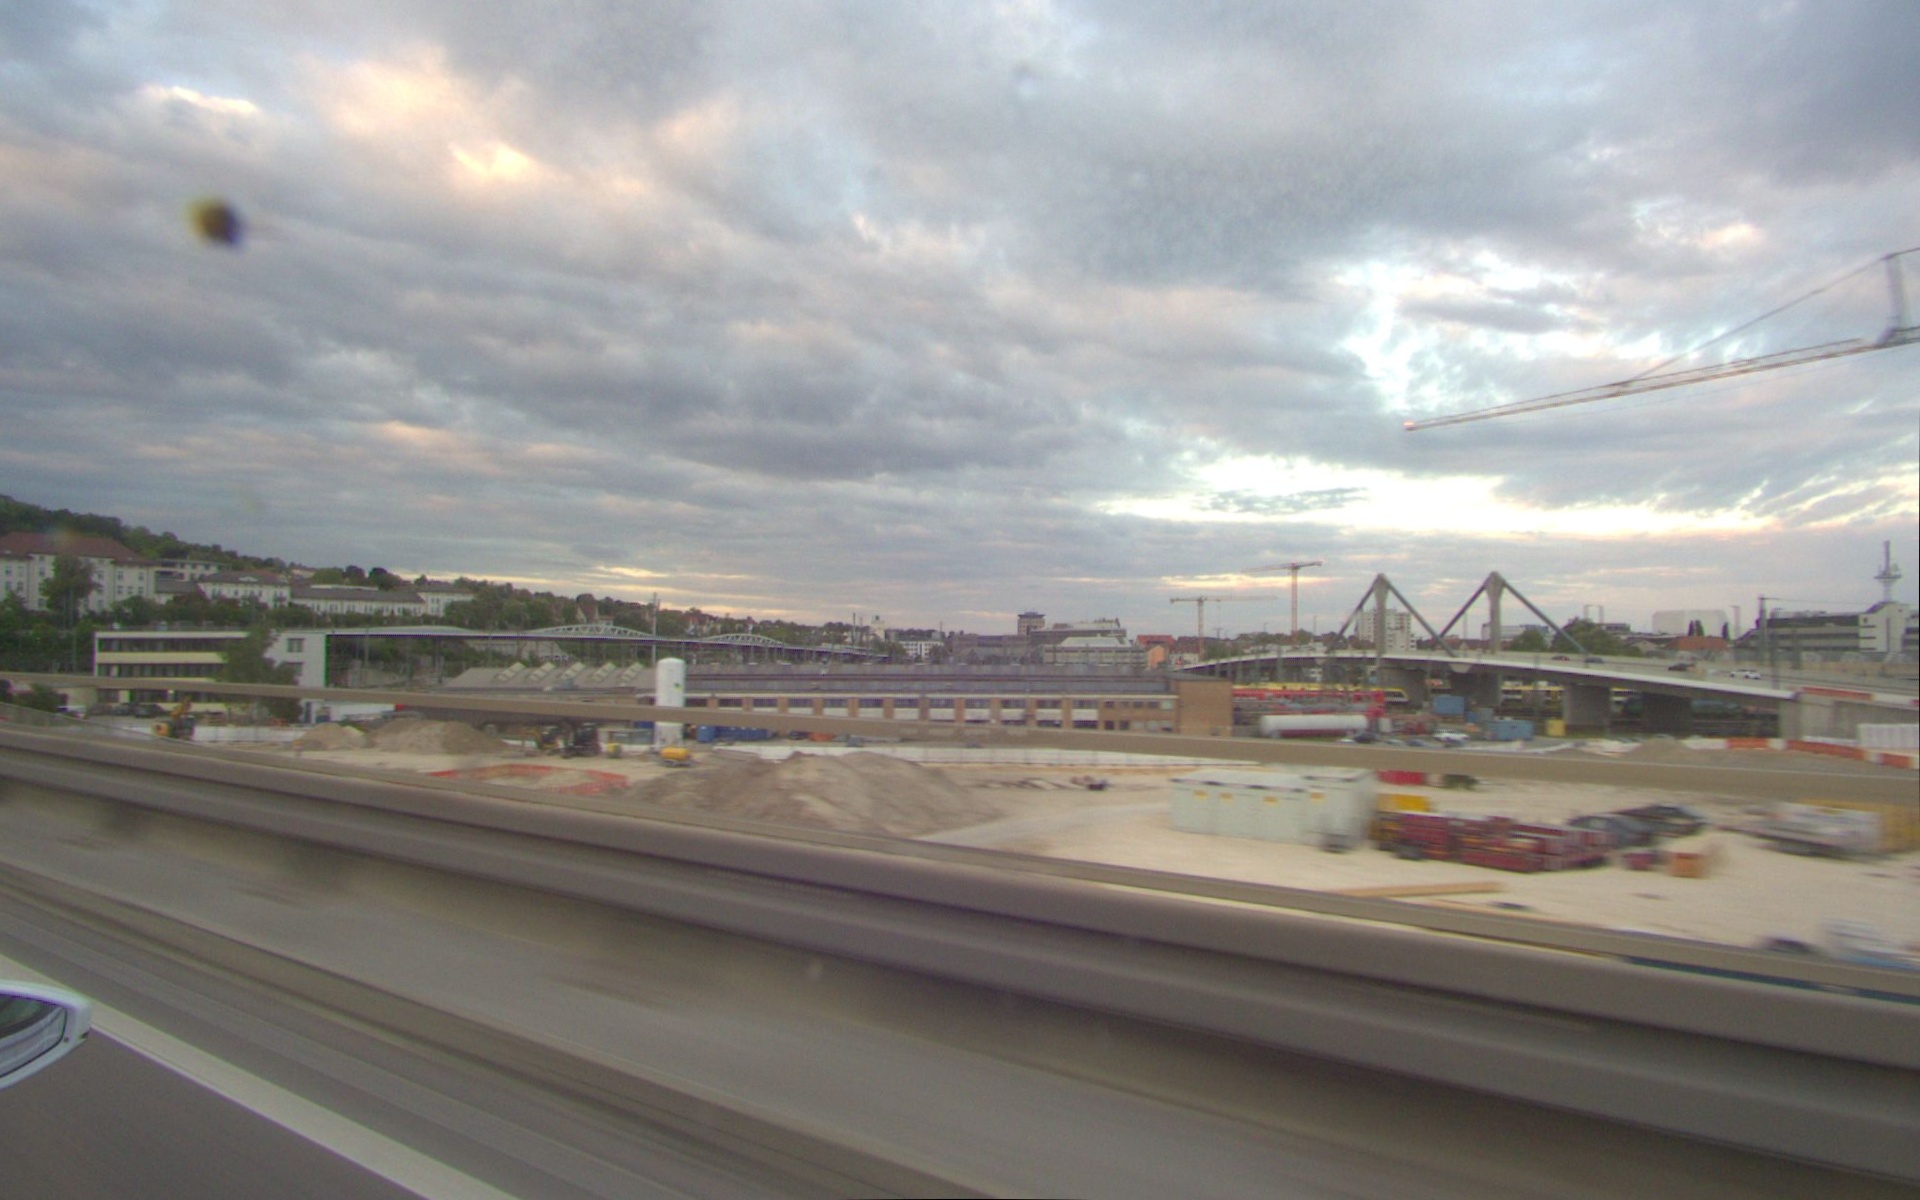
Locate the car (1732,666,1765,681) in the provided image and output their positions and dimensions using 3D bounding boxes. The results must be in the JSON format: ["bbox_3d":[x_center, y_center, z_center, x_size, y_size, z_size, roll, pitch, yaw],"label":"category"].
[{"bbox_3d":[115.279,10.808,146.472,1.565,1.761,3.703,5,0,-5],"label":"car"}]

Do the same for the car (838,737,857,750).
[{"bbox_3d":[-13.461,17.176,120.115,1.835,1.435,4.009,4,-7,-1],"label":"car"}]

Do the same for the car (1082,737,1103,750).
[{"bbox_3d":[15.736,17.075,119.184,1.835,1.435,4.009,4,-7,-1],"label":"car"}]

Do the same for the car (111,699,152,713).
[{"bbox_3d":[-102.104,13.047,123.436,1.797,1.583,4.006,5,-5,-3],"label":"car"}]

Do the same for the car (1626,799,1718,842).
[{"bbox_3d":[40.425,12.515,56.939,1.664,1.942,3.983,8,-8,-29],"label":"car"}]

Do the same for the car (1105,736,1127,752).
[{"bbox_3d":[18.563,17.131,119.265,1.835,1.733,4.009,4,-7,-1],"label":"car"}]

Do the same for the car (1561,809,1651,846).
[{"bbox_3d":[34.278,12.052,53.230,1.509,1.457,3.780,8,-8,-30],"label":"car"}]

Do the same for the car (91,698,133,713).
[{"bbox_3d":[-105.211,13.080,124.352,1.797,1.583,4.006,5,-5,-3],"label":"car"}]

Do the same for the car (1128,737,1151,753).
[{"bbox_3d":[21.261,17.227,118.846,1.835,1.669,4.009,4,-7,-1],"label":"car"}]

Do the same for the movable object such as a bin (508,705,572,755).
[{"bbox_3d":[-39.504,12.284,94.264,2.733,4.356,4.964,1,-7,15],"label":"movable object such as a bin"}]

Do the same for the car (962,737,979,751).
[{"bbox_3d":[1.233,17.136,119.367,1.835,1.435,4.009,4,-7,-1],"label":"car"}]

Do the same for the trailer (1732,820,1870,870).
[{"bbox_3d":[36.027,10.458,42.999,1.760,1.256,4.230,4,-4,-31],"label":"trailer"}]

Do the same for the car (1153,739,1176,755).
[{"bbox_3d":[24.179,17.406,118.443,1.835,1.669,4.009,4,-7,-1],"label":"car"}]

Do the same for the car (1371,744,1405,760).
[{"bbox_3d":[50.426,17.879,118.046,1.835,1.539,4.348,0,-4,-5],"label":"car"}]

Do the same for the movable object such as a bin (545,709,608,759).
[{"bbox_3d":[-35.792,12.549,93.559,2.733,4.356,4.964,1,-7,15],"label":"movable object such as a bin"}]

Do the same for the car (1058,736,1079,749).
[{"bbox_3d":[12.897,16.954,119.350,1.835,1.435,4.009,4,-7,-1],"label":"car"}]

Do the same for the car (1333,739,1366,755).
[{"bbox_3d":[46.102,17.428,118.544,1.835,1.539,4.348,0,-4,-5],"label":"car"}]

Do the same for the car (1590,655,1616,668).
[{"bbox_3d":[113.609,10.818,177.015,1.743,1.762,3.997,5,1,-5],"label":"car"}]

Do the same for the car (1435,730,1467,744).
[{"bbox_3d":[64.980,18.131,132.453,3.618,1.593,1.440,5,-7,-10],"label":"car"}]

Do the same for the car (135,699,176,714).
[{"bbox_3d":[-98.158,13.002,122.199,1.797,1.583,4.006,5,-5,-3],"label":"car"}]

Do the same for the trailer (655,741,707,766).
[{"bbox_3d":[-24.189,13.301,86.775,3.779,1.823,1.999,1,-7,24],"label":"trailer"}]

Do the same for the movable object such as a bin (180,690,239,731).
[{"bbox_3d":[-86.583,12.778,115.565,4.868,4.356,2.787,1,-7,18],"label":"movable object such as a bin"}]
